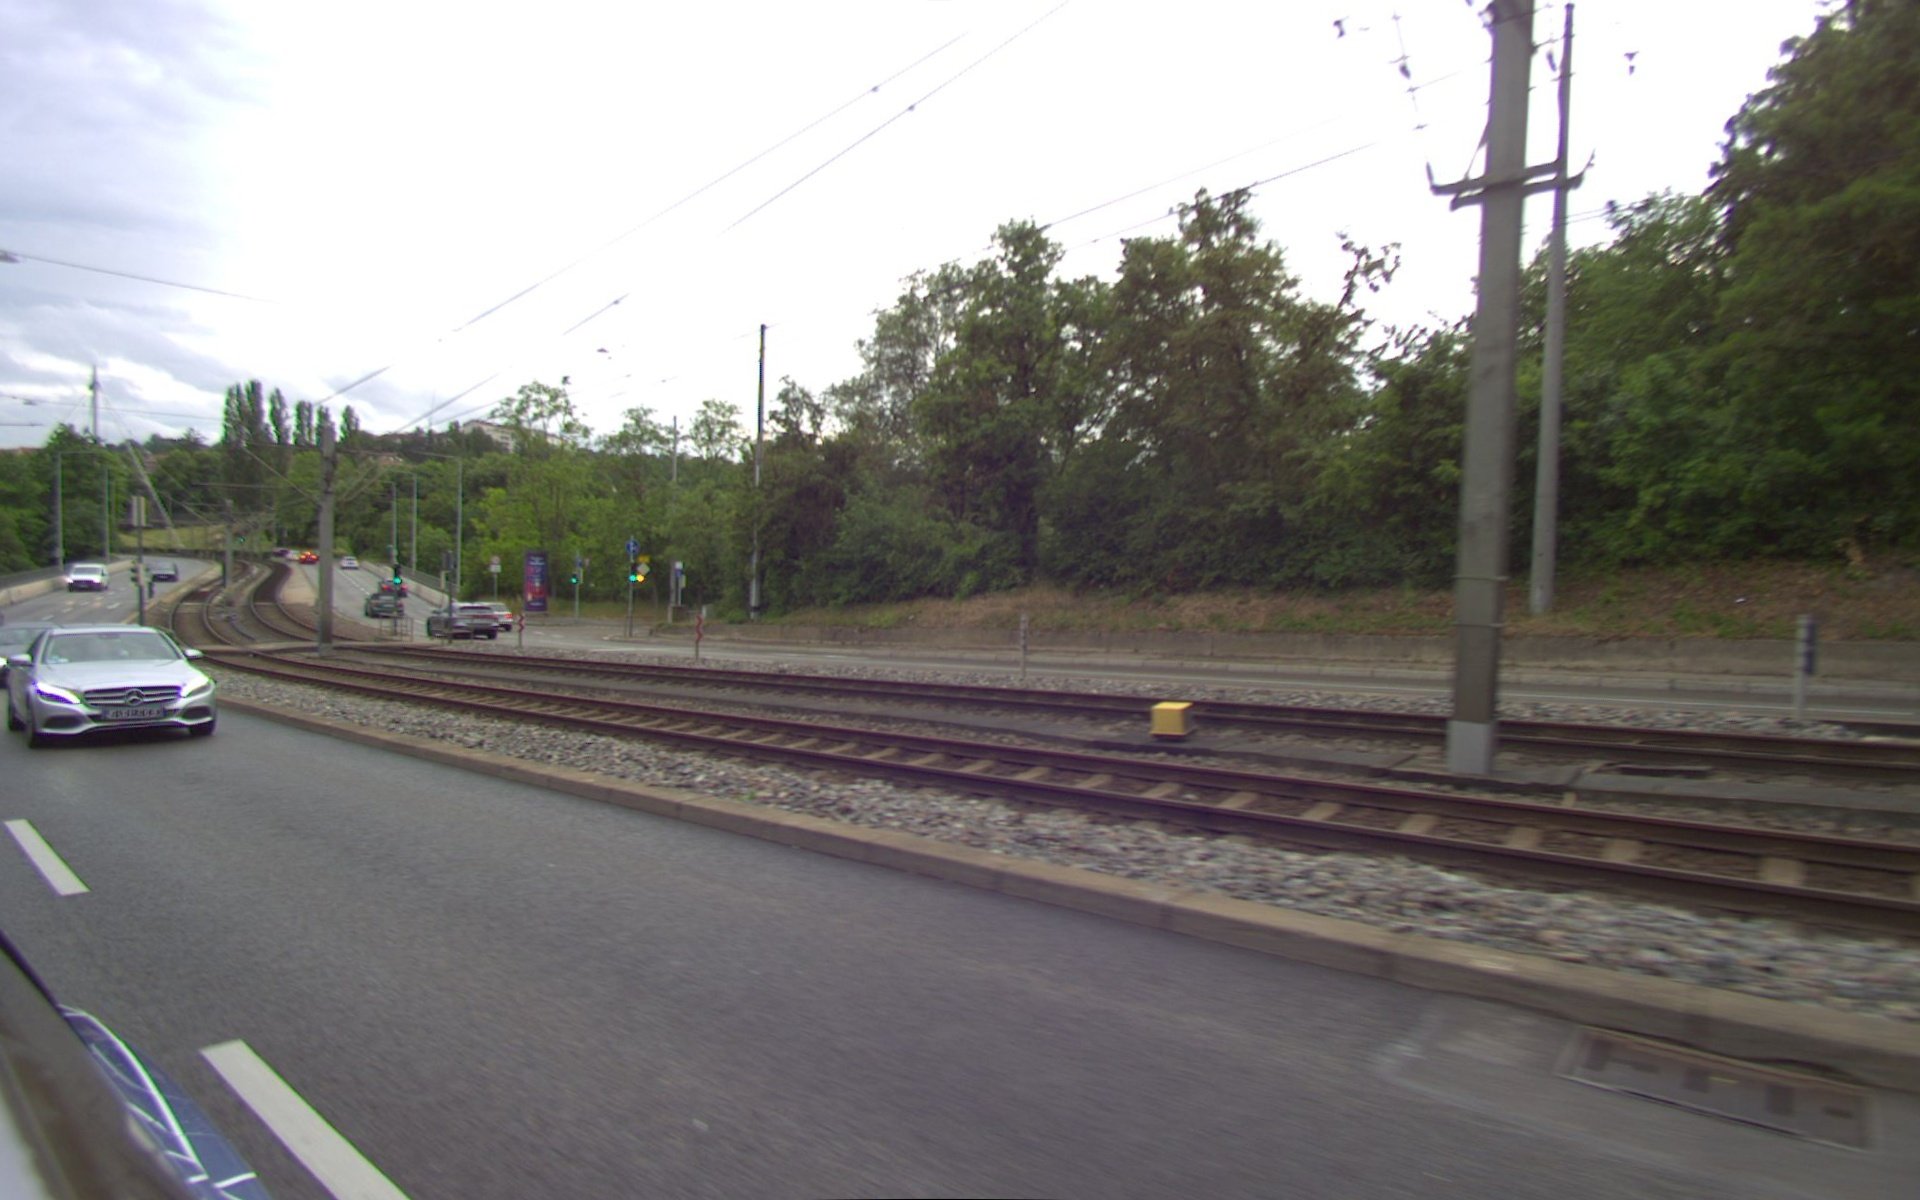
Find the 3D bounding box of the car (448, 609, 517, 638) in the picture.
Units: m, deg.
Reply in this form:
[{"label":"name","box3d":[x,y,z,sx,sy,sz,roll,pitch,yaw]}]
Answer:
[{"label":"car","box3d":[-24.434,1.200,51.698,1.798,1.390,4.709,1,-1,-44]}]

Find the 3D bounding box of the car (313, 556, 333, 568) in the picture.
[{"label":"car","box3d":[-93.575,-5.559,148.624,1.943,1.609,5.197,1,2,-37]}]

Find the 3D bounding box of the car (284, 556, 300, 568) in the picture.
[{"label":"car","box3d":[-96.931,-5.537,146.871,1.707,1.447,4.503,1,3,-37]}]

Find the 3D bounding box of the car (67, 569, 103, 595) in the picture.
[{"label":"car","box3d":[-63.435,-1.300,73.421,1.741,1.830,4.008,-2,1,-38]}]

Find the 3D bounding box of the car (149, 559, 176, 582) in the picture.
[{"label":"car","box3d":[-68.791,-2.545,87.297,1.741,1.830,4.008,-2,1,-38]}]

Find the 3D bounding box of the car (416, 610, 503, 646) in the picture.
[{"label":"car","box3d":[-21.071,1.191,42.529,1.840,1.449,4.858,2,-3,-44]}]

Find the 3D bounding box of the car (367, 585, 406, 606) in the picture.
[{"label":"car","box3d":[-44.580,-0.379,78.580,1.695,1.469,4.280,0,3,-43]}]

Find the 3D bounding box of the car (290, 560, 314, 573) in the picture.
[{"label":"car","box3d":[-88.771,-4.482,136.453,1.827,1.609,4.736,1,2,-45]}]

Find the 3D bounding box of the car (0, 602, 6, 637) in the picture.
[{"label":"car","box3d":[-42.535,0.864,43.528,1.740,1.512,4.009,-1,1,-37]}]

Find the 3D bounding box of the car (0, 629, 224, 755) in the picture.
[{"label":"car","box3d":[-11.258,1.083,13.288,4.060,1.366,1.846,-2,-1,43]}]

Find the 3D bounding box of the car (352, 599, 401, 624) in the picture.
[{"label":"car","box3d":[-34.166,0.690,59.266,1.613,1.395,3.898,2,-2,-43]}]

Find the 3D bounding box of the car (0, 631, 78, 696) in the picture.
[{"label":"car","box3d":[-22.053,1.433,23.673,4.000,1.362,1.713,-2,0,43]}]

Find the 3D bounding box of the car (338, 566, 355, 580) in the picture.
[{"label":"car","box3d":[-76.023,-3.319,125.370,1.796,1.526,4.543,0,3,-32]}]
